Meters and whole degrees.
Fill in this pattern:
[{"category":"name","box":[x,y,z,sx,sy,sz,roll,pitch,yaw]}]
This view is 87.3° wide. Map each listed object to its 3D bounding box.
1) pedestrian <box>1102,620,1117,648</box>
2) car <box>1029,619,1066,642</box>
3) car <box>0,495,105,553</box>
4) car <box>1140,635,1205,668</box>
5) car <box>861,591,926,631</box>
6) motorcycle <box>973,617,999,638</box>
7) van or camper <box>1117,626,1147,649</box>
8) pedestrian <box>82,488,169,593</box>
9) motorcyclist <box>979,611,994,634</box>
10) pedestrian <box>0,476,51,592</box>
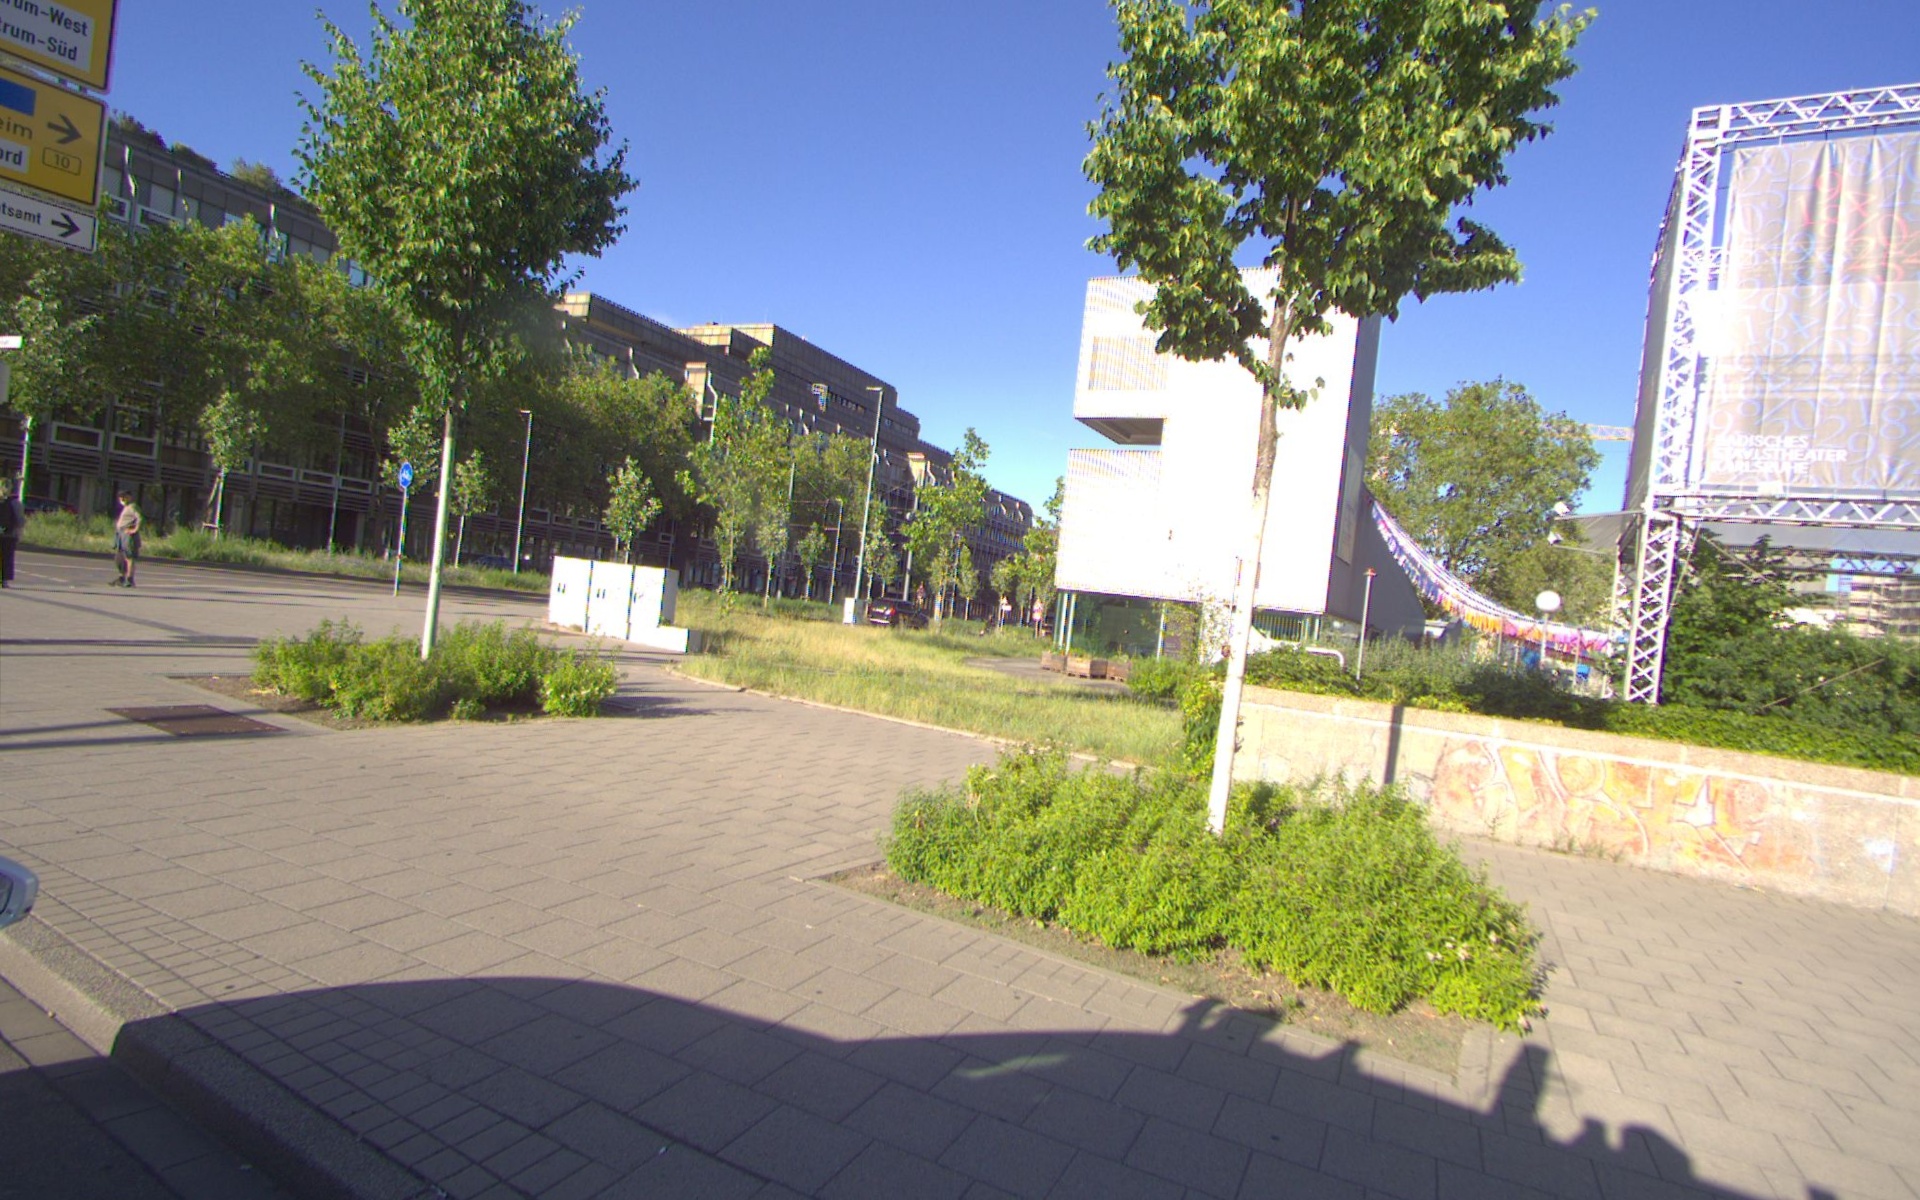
[{"category":"pedestrian","box":[9.096,2.077,61.117,0.520,1.571,0.638,7,-1,31]},{"category":"car","box":[7.046,2.488,80.669,1.642,1.528,3.871,7,-1,25]},{"category":"car","box":[-33.268,-2.788,35.478,1.792,1.704,4.302,7,-1,21]},{"category":"car","box":[16.197,3.950,76.467,5.284,1.845,1.827,9,-2,-40]},{"category":"car","box":[-3.725,0.682,57.271,1.851,1.886,4.833,7,-1,18]},{"category":"motorcycle","box":[1.800,1.893,69.182,0.716,1.223,2.602,8,0,24]},{"category":"van or camper","box":[17.254,3.752,100.650,1.969,2.038,4.844,7,-1,19]},{"category":"pedestrian","box":[-14.899,-1.051,17.971,0.755,1.728,0.873,7,1,30]},{"category":"motorcyclist","box":[1.797,1.558,68.974,0.636,1.441,0.658,8,1,24]},{"category":"pedestrian","box":[-14.190,-1.002,14.876,0.859,1.634,0.767,7,1,30]}]
